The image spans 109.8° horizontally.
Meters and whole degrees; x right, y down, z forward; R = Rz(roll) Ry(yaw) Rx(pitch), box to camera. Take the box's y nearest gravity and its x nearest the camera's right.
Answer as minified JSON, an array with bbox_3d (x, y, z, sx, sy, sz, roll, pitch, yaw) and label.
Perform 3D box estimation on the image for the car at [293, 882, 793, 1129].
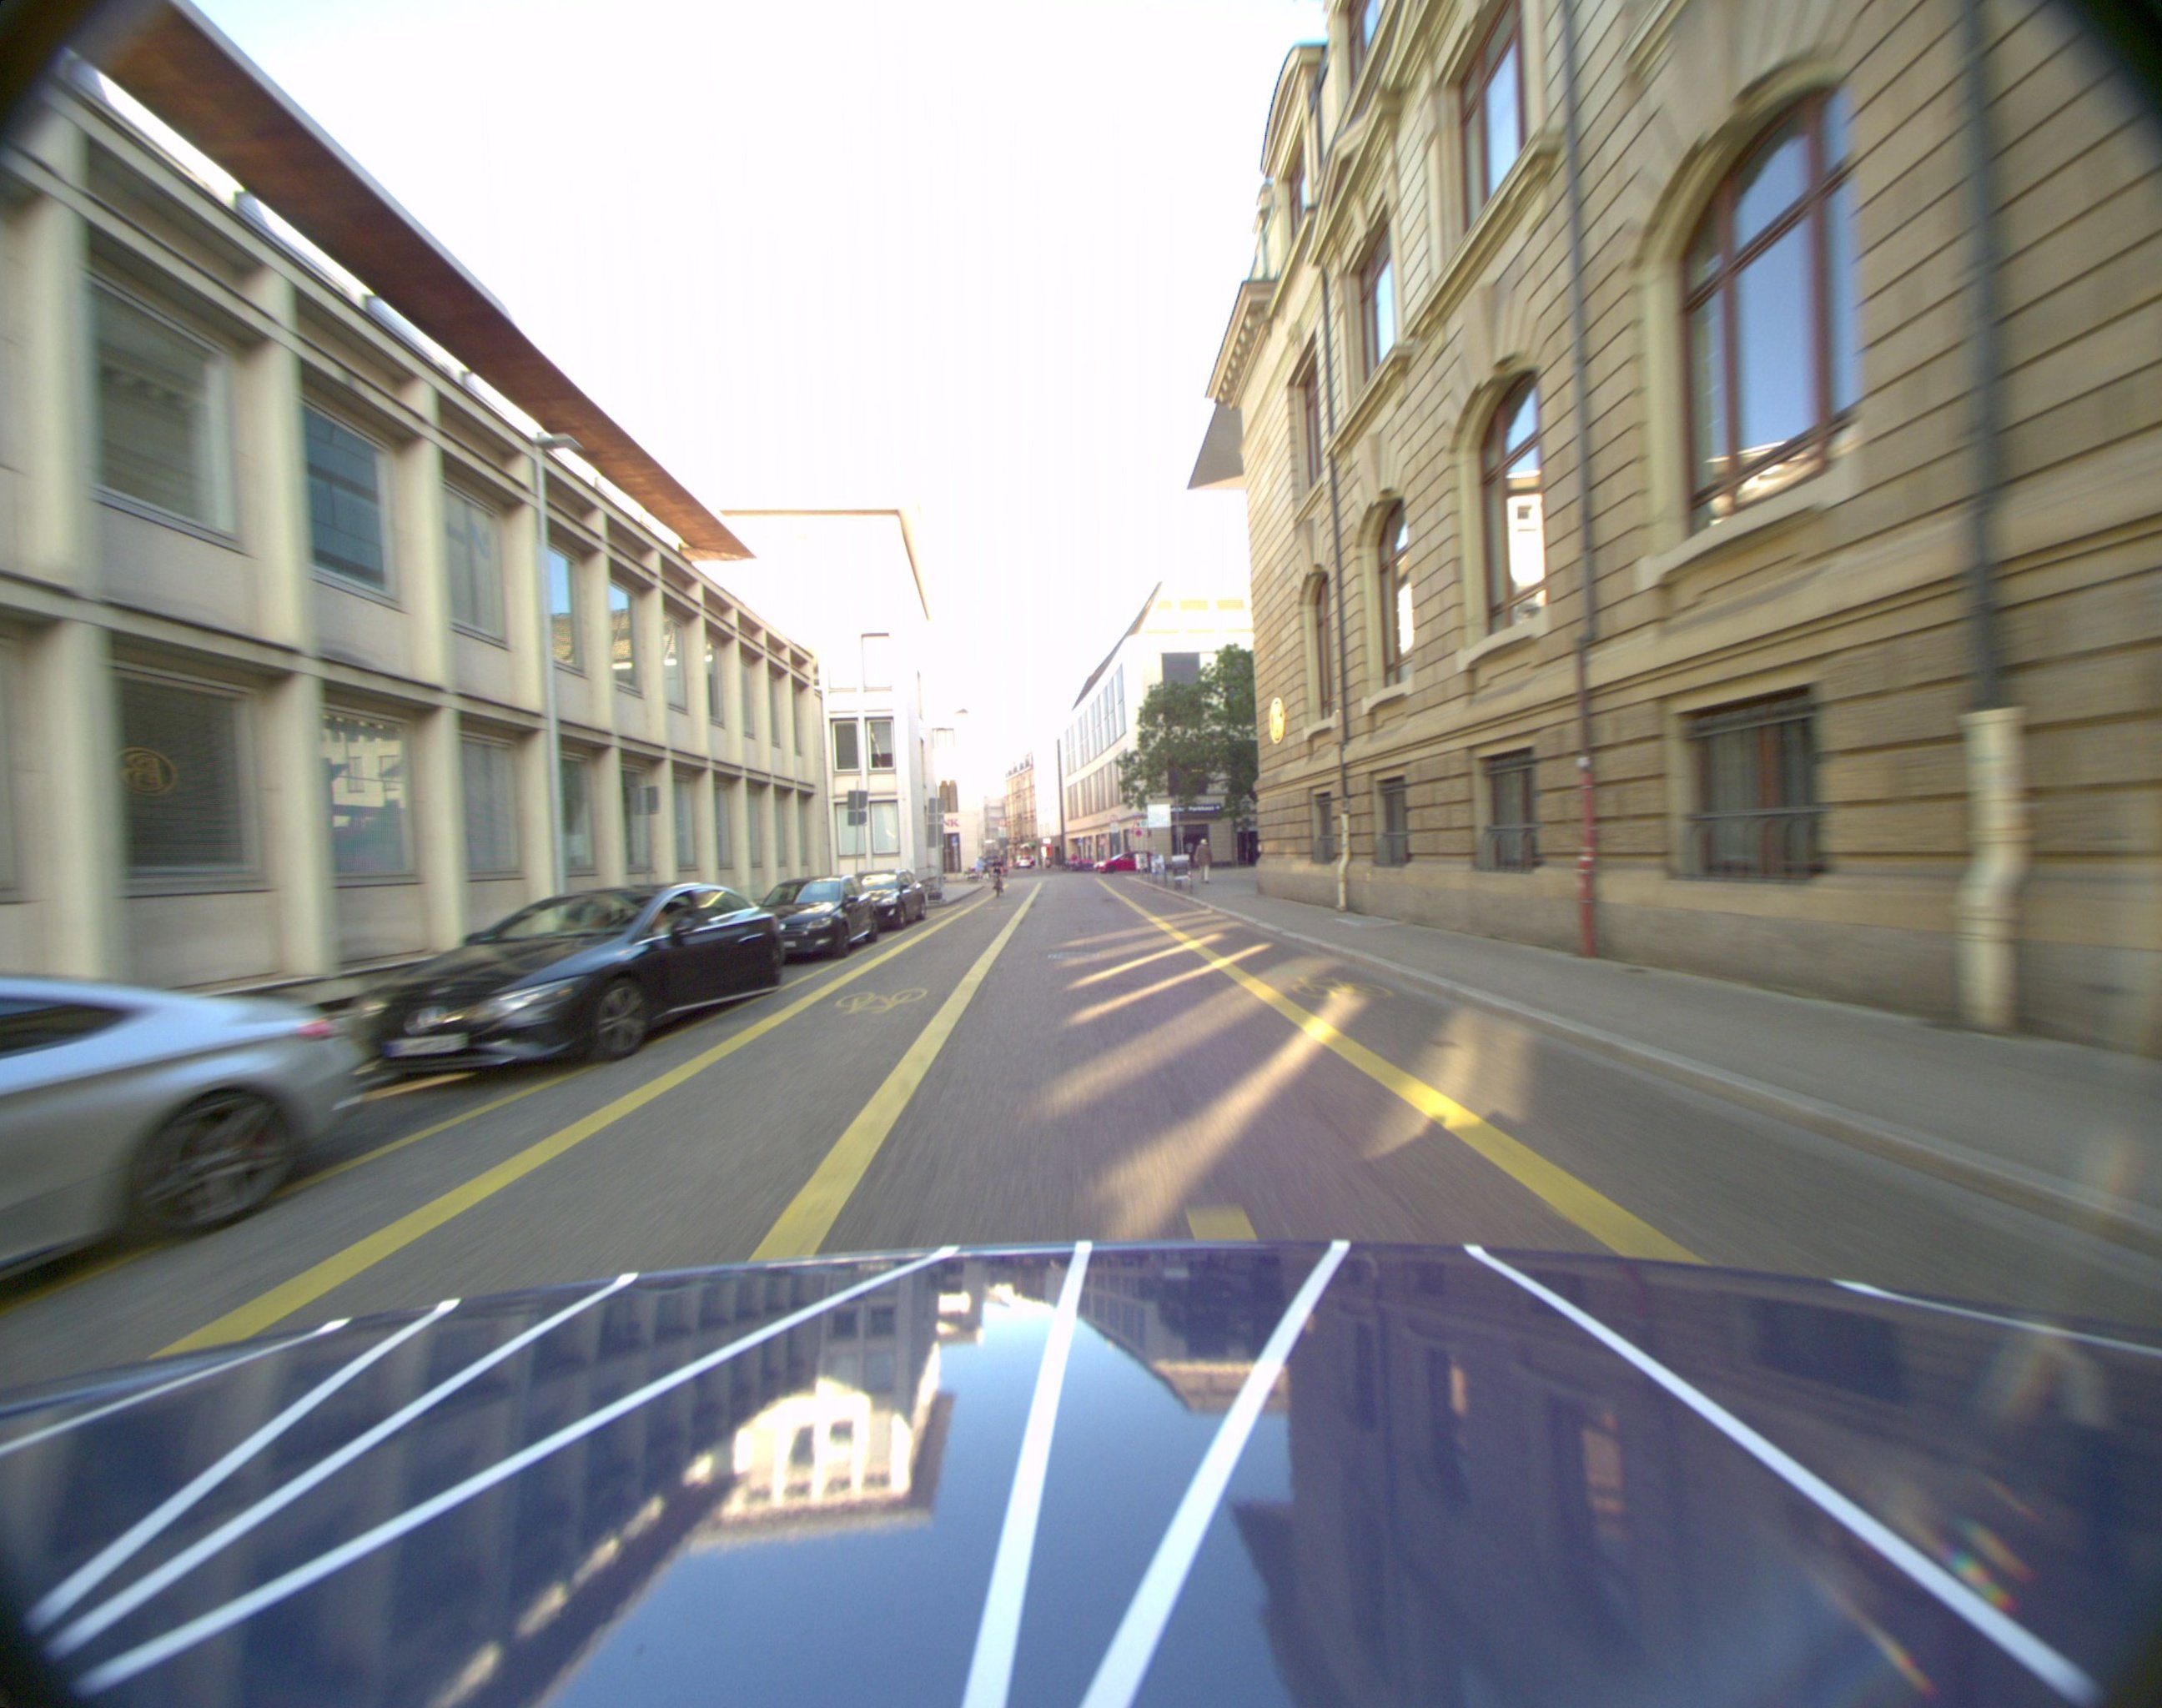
[{"bbox_3d":[-4.758,1.177,7.847,1.701,1.462,4.790,-4,0,-1],"label":"car"}]

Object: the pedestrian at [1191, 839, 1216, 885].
[{"bbox_3d":[4.843,0.307,30.107,0.765,1.769,0.622,-4,1,0],"label":"pedestrian"}]

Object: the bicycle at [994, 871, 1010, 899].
[{"bbox_3d":[-3.243,1.246,31.348,0.535,1.060,1.425,-4,1,-3],"label":"bicycle"}]

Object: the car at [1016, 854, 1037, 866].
[{"bbox_3d":[-6.959,0.753,96.553,2.056,1.482,4.267,-3,0,-13],"label":"car"}]

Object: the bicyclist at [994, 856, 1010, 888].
[{"bbox_3d":[-3.276,0.725,31.489,0.538,1.281,0.551,-4,1,-3],"label":"bicyclist"}]

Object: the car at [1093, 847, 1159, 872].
[{"bbox_3d":[3.119,0.374,53.216,4.273,1.462,1.631,-3,1,-14],"label":"car"}]

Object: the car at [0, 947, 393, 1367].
[{"bbox_3d":[-4.864,1.266,2.013,1.701,1.336,4.598,-4,0,2],"label":"car"}]

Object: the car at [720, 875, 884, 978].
[{"bbox_3d":[-4.873,1.195,13.876,1.632,1.391,3.885,-4,1,-3],"label":"car"}]

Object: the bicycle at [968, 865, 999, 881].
[{"bbox_3d":[-6.308,1.230,49.311,1.871,0.905,0.535,-4,1,3],"label":"bicycle"}]

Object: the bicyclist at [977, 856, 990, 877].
[{"bbox_3d":[-6.329,0.814,49.308,0.612,1.281,0.538,-4,1,3],"label":"bicyclist"}]

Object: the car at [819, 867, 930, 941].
[{"bbox_3d":[-5.072,1.162,19.239,1.698,1.483,4.253,-4,1,-2],"label":"car"}]
